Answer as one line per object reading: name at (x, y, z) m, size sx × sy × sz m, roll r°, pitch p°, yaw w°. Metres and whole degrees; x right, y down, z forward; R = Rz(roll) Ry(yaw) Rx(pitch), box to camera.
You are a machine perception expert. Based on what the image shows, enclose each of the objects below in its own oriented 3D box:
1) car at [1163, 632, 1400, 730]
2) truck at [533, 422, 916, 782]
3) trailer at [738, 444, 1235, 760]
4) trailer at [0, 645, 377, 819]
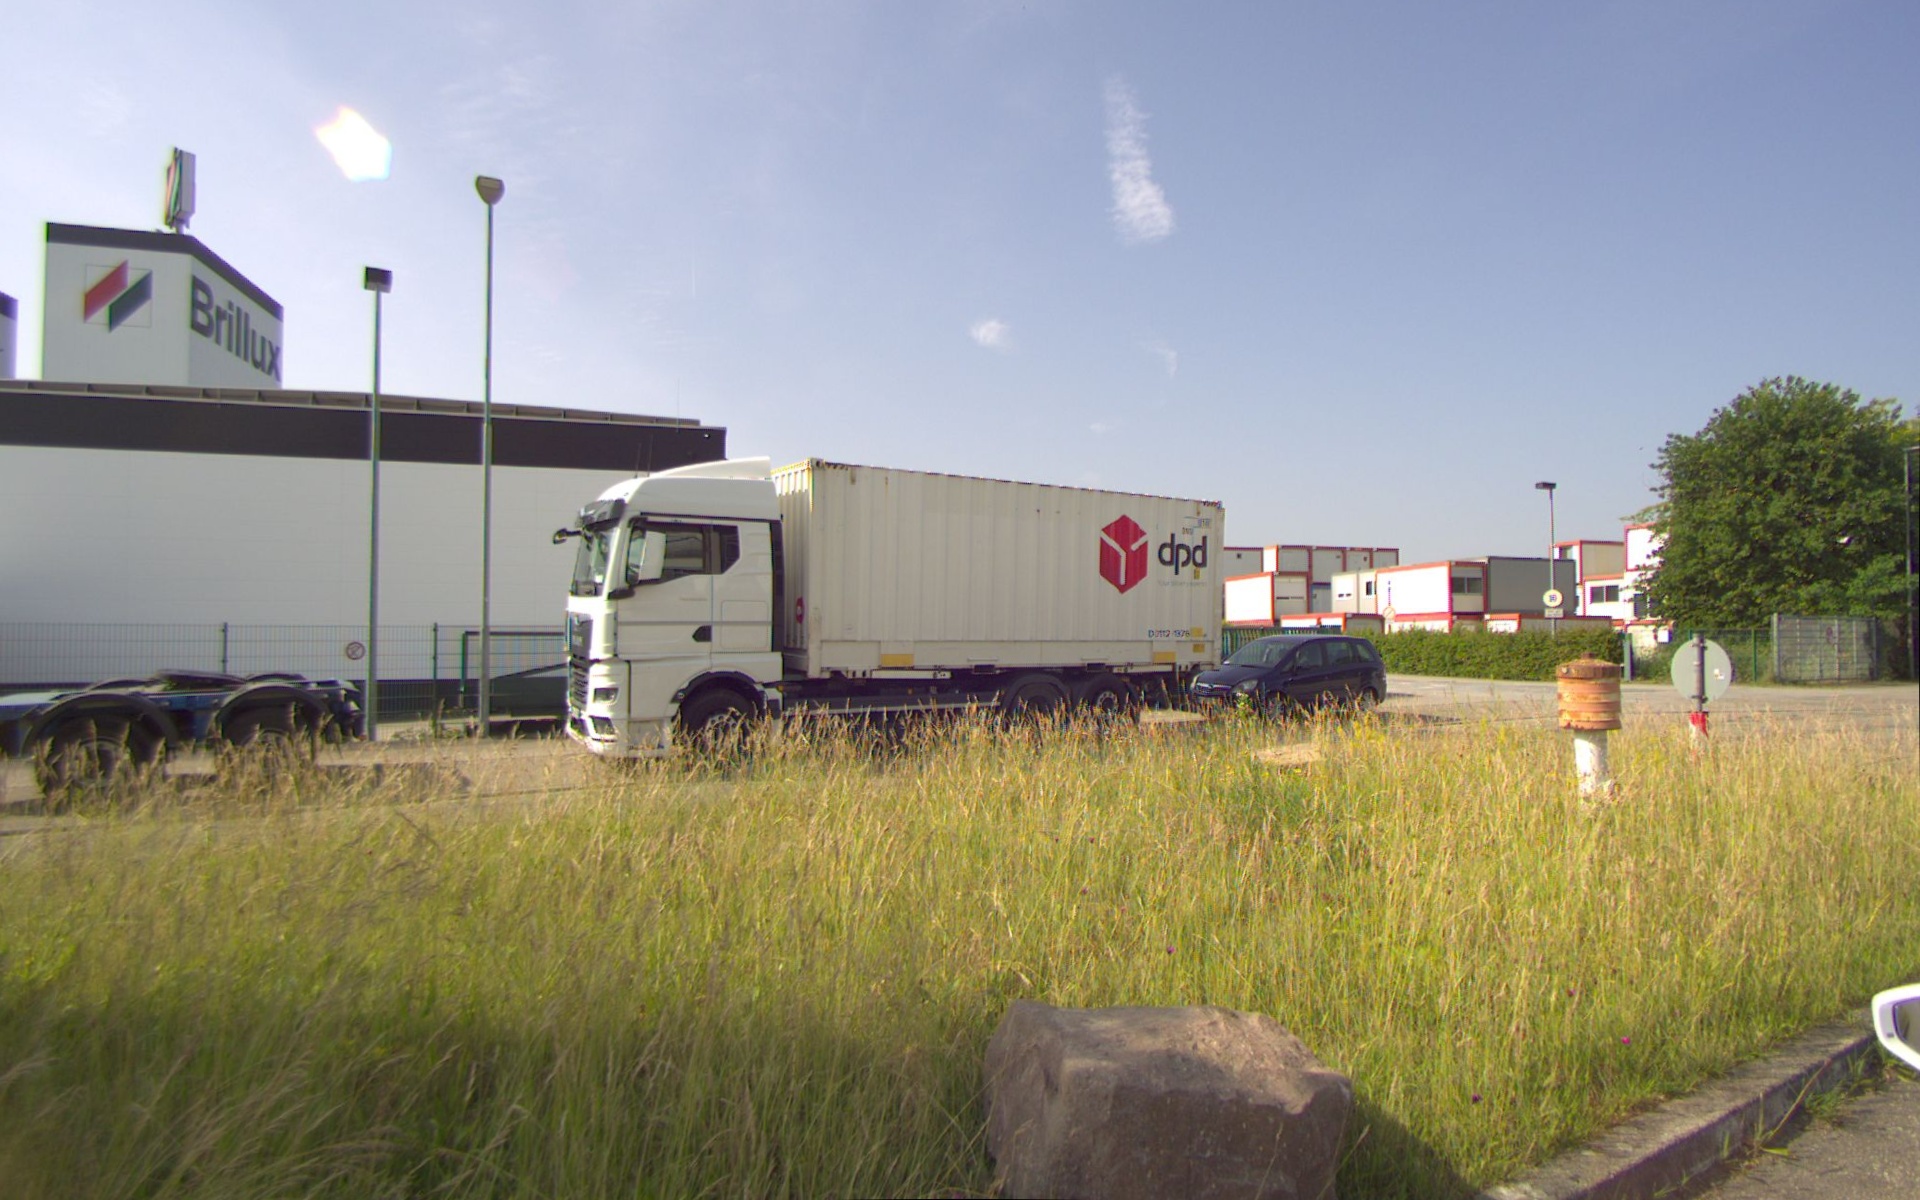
car at (6.271, 1.472, 19.452) m, size 4.539 × 1.662 × 1.982 m, roll 1°, pitch -1°, yaw -33°
truck at (-3.140, 0.107, 13.383) m, size 4.249 × 3.973 × 2.694 m, roll 3°, pitch -1°, yaw -32°
trailer at (0.627, 0.181, 15.754) m, size 7.492 × 3.973 × 2.685 m, roll 3°, pitch -1°, yaw -32°
trailer at (-8.852, 1.228, 10.183) m, size 5.016 × 1.472 × 2.669 m, roll 1°, pitch -2°, yaw -30°
